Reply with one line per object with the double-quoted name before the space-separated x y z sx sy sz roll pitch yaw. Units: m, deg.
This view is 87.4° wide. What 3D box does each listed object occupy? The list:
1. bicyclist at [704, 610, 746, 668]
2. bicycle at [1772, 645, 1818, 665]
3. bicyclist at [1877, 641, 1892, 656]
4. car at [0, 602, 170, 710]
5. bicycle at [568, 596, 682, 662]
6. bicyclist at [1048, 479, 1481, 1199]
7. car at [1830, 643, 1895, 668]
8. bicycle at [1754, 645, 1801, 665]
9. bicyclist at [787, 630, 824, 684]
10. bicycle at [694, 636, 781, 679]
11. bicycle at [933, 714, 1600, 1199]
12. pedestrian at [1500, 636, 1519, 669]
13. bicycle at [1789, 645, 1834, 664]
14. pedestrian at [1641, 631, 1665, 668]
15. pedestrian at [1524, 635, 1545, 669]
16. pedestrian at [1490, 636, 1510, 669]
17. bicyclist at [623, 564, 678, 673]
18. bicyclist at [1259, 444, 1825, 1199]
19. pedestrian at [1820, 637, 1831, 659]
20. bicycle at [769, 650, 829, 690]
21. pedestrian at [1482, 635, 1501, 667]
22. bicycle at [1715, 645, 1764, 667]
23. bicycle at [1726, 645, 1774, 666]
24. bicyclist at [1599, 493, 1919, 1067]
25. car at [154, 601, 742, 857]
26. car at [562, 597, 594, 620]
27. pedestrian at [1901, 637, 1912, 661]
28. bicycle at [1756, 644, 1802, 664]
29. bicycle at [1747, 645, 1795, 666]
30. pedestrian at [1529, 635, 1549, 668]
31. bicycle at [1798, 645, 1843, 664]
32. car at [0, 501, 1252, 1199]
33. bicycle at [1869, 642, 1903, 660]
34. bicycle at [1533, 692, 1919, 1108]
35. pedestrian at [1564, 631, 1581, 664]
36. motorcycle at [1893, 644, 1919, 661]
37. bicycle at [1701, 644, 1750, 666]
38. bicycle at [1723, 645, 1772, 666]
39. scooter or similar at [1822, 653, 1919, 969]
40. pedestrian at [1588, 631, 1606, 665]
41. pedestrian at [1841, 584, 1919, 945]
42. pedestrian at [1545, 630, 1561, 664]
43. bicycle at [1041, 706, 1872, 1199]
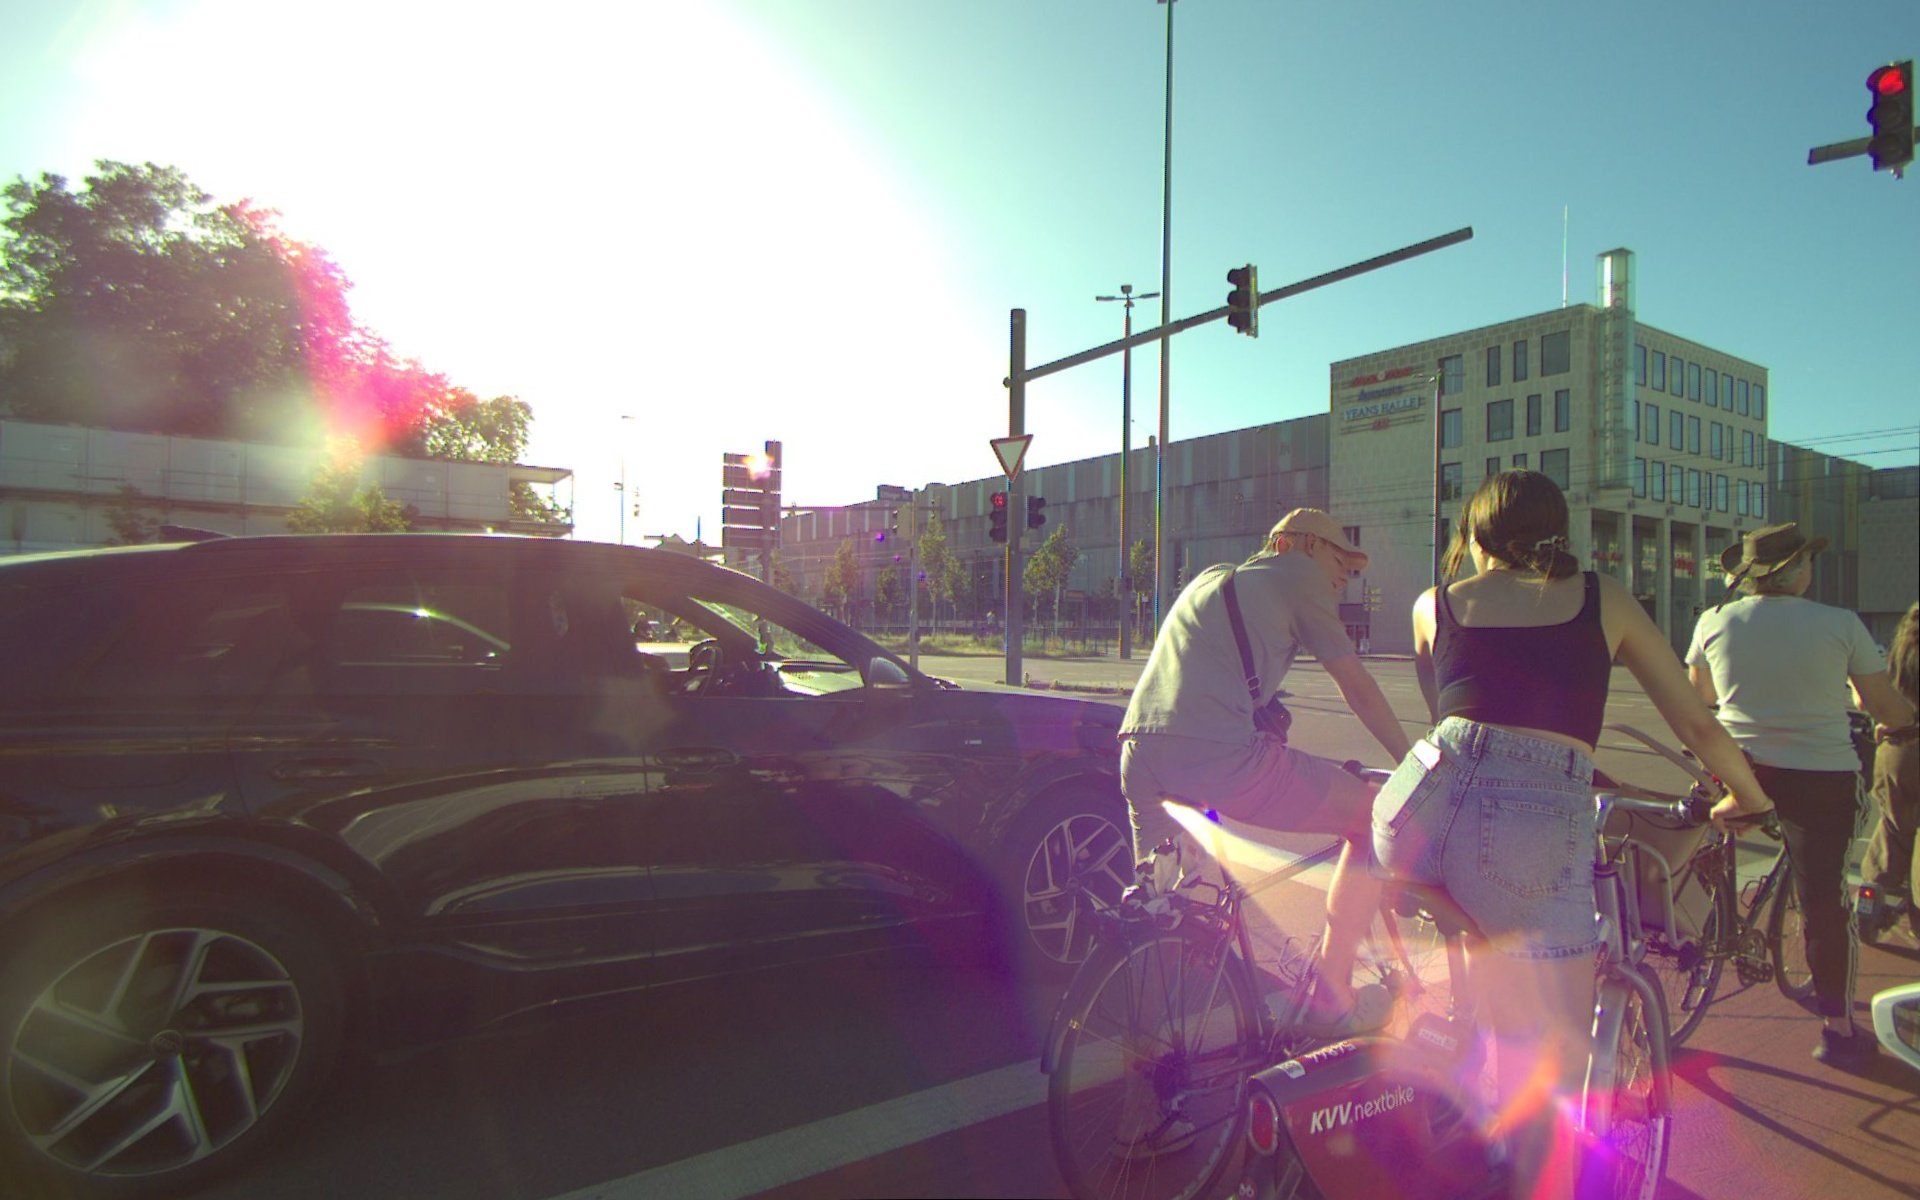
"bicyclist" -8.482 1.390 36.323 1.078 2.040 0.961 2 0 16
"bicycle" 55.517 3.628 66.824 0.605 1.238 2.295 1 -1 -31
"bicyclist" 67.662 3.551 73.510 0.612 1.099 0.512 1 0 13
"car" -14.923 0.848 15.678 3.855 1.606 1.645 2 -2 -32
"bicycle" -9.704 0.802 29.161 3.047 1.835 0.835 0 1 -32
"bicyclist" 0.794 0.559 2.675 0.833 1.627 0.712 1 0 -32
"car" 49.779 3.070 55.405 3.956 1.359 1.621 2 -4 -32
"bicycle" 52.899 3.539 65.014 0.605 1.238 2.295 1 -1 -31
"bicyclist" -6.137 2.249 39.795 0.985 2.040 1.088 2 0 -40
"bicycle" -8.009 2.040 36.178 2.905 1.388 0.970 2 0 16
"bicycle" 0.931 0.953 2.772 1.949 1.124 0.643 1 0 -33
"pedestrian" 33.221 3.171 60.687 0.780 1.910 0.709 2 0 -37
"bicycle" 58.850 3.743 69.423 0.605 1.238 2.295 1 -1 -31
"pedestrian" 38.568 2.749 55.887 0.767 2.040 0.876 2 0 -41
"pedestrian" 33.393 3.012 58.374 0.710 1.910 0.779 2 0 -36
"pedestrian" 32.159 3.134 59.866 0.710 1.910 0.779 2 0 -36
"bicyclist" -9.107 0.550 29.543 1.292 3.144 0.835 2 0 -32
"bicyclist" 1.160 0.568 2.025 0.866 1.600 0.638 1 0 -33
"pedestrian" 68.235 3.772 79.193 0.610 1.702 0.565 1 0 -39
"bicycle" -6.438 2.769 40.106 0.962 1.388 2.930 2 0 -40
"pedestrian" 32.476 3.119 61.401 0.710 1.910 0.779 2 0 -36
"bicycle" 46.961 3.335 60.523 0.605 1.238 2.295 1 -1 -31
"bicycle" 48.694 3.395 61.955 0.605 1.238 2.295 1 -1 -31
"bicyclist" 2.860 0.556 3.554 0.856 1.743 0.657 2 0 -30
"car" -3.594 0.789 7.498 3.562 1.505 1.485 1 0 -30
"car" -32.936 0.720 86.518 1.785 1.908 3.964 2 0 -33
"pedestrian" 71.096 3.681 75.448 0.579 1.702 0.516 1 1 -43
"bicycle" 54.279 3.589 66.561 0.605 1.238 2.295 1 -1 -31
"bicycle" 51.274 3.482 63.546 0.605 1.238 2.295 1 -1 -31
"pedestrian" 34.403 3.050 59.687 0.710 1.910 0.779 2 0 -36
"bicycle" 59.821 3.774 69.847 0.605 1.238 2.295 1 -1 -31
"car" -1.163 0.631 3.872 4.630 1.656 1.760 1 0 -32
"bicycle" 67.744 3.749 73.489 1.774 1.223 0.512 1 0 16
"bicycle" 2.870 0.961 3.681 1.810 1.171 0.482 2 0 -31
"pedestrian" 35.627 2.736 58.422 0.784 1.868 0.862 0 -1 32
"motorcycle" 70.737 3.917 74.848 0.508 1.223 1.786 1 0 -44
"bicycle" 45.759 3.296 60.079 0.605 1.238 2.295 1 -1 -31
"bicycle" 48.044 3.372 61.334 0.605 1.238 2.295 1 -1 -31
"scooter or similar" 4.483 0.926 4.715 1.186 1.311 0.541 2 0 -45
"pedestrian" 35.869 2.700 56.580 0.784 1.868 0.863 0 -1 29
"pedestrian" 4.624 0.762 4.807 0.568 1.654 0.543 2 0 -45
"pedestrian" 34.209 2.716 57.934 0.705 1.910 0.785 2 0 33
"bicycle" 1.065 0.891 1.973 1.811 1.234 0.612 1 0 -33
